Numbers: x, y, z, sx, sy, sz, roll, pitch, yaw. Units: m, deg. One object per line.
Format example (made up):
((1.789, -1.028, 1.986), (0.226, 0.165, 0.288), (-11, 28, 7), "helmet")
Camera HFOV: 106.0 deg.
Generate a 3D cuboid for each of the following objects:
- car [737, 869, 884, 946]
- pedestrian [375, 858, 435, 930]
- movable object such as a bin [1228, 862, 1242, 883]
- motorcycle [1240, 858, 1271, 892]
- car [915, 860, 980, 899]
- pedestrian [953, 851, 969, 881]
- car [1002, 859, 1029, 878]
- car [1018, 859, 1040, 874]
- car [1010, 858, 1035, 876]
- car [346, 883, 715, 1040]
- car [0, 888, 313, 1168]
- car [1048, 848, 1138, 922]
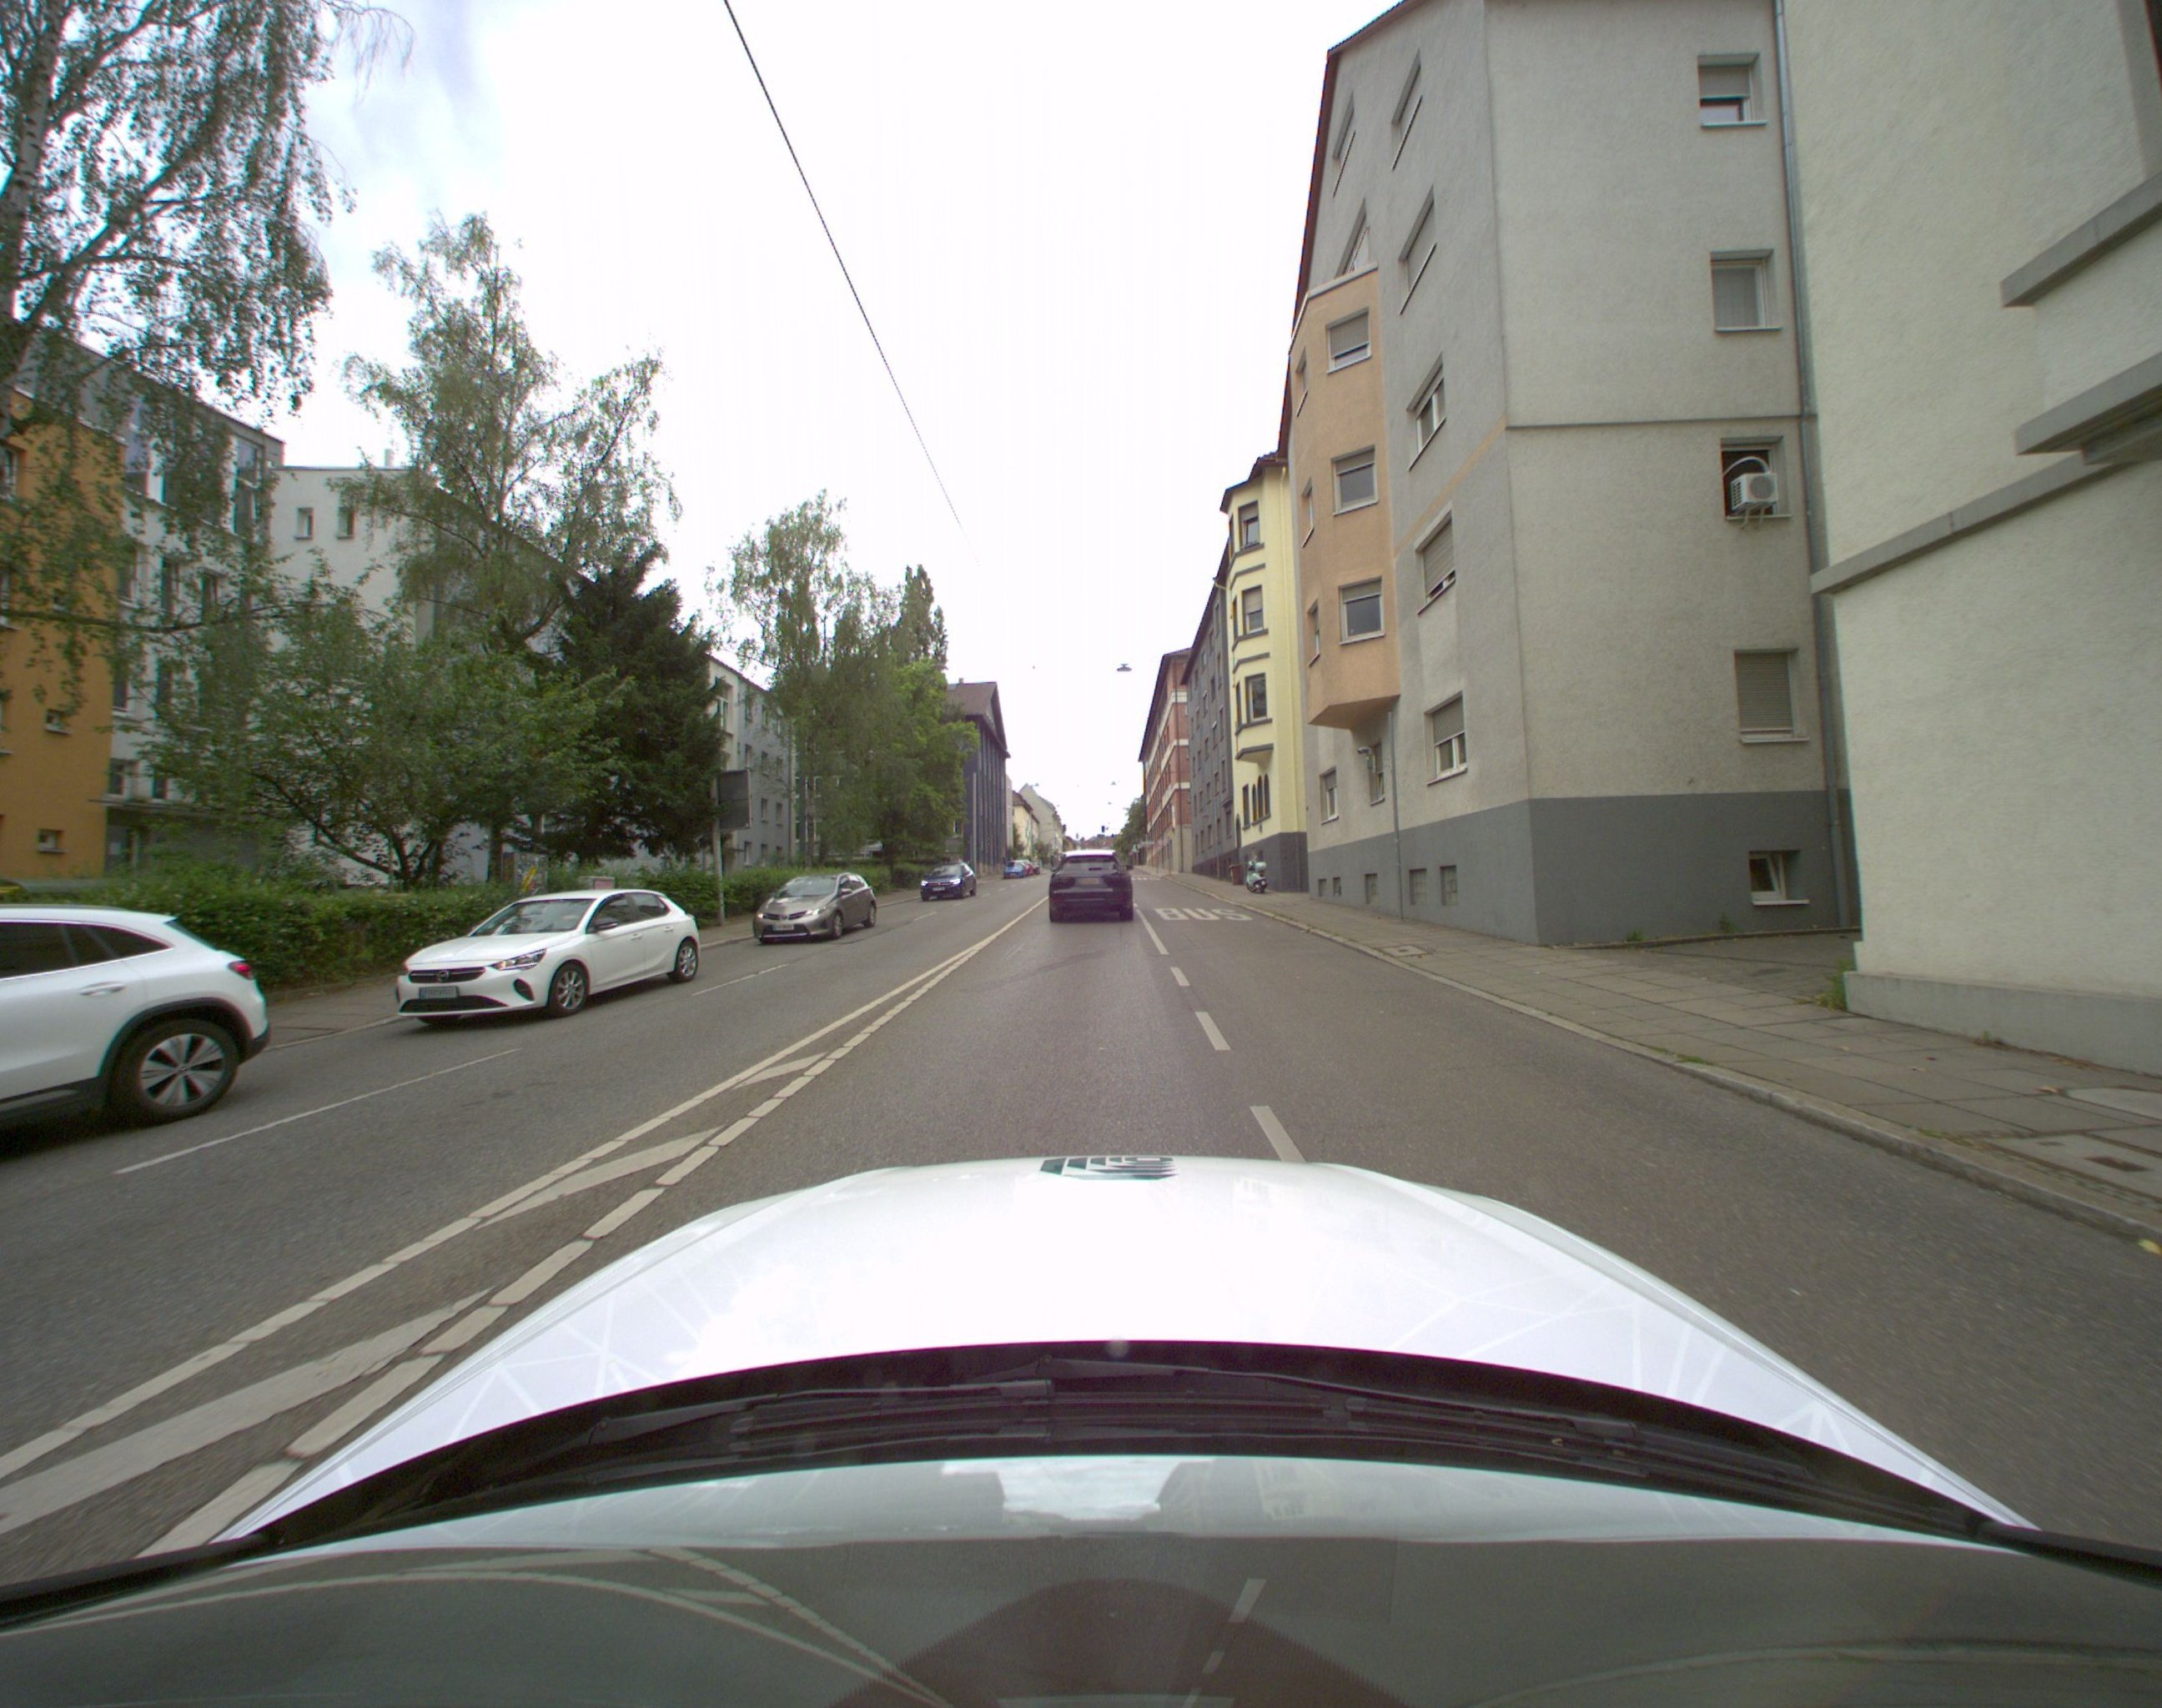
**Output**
((-6.205, 1.162, 19.259), (1.832, 1.448, 4.313), (-3, 0, 2), "car")
((-17.549, 1.027, 21.163), (0.718, 1.754, 0.795), (-2, 3, 6), "pedestrian")
((6.890, 0.833, 36.531), (0.473, 0.892, 0.517), (-4, 0, 1), "movable object such as a bin")
((6.331, 0.741, 29.615), (0.536, 1.156, 2.225), (-4, 0, -1), "motorcycle")
((-5.619, 1.046, 34.717), (1.832, 1.448, 4.313), (-3, 0, 2), "car")
((-7.892, 0.770, 53.399), (0.879, 1.950, 0.868), (1, 0, 1), "pedestrian")
((-5.423, 1.177, 67.785), (1.708, 1.423, 3.990), (-4, 0, 1), "car")
((-5.019, 1.219, 79.613), (1.708, 1.341, 3.905), (-4, 0, 1), "car")
((-5.269, 1.132, 73.909), (1.707, 1.456, 3.992), (-4, 0, 3), "car")
((-6.786, 1.218, 10.706), (1.832, 1.412, 4.077), (-4, -1, 3), "car")
((-7.480, 1.144, 4.485), (1.943, 1.593, 4.503), (-4, -1, 4), "car")
((0.182, 0.716, 20.375), (2.019, 1.641, 4.352), (0, -1, -2), "car")
